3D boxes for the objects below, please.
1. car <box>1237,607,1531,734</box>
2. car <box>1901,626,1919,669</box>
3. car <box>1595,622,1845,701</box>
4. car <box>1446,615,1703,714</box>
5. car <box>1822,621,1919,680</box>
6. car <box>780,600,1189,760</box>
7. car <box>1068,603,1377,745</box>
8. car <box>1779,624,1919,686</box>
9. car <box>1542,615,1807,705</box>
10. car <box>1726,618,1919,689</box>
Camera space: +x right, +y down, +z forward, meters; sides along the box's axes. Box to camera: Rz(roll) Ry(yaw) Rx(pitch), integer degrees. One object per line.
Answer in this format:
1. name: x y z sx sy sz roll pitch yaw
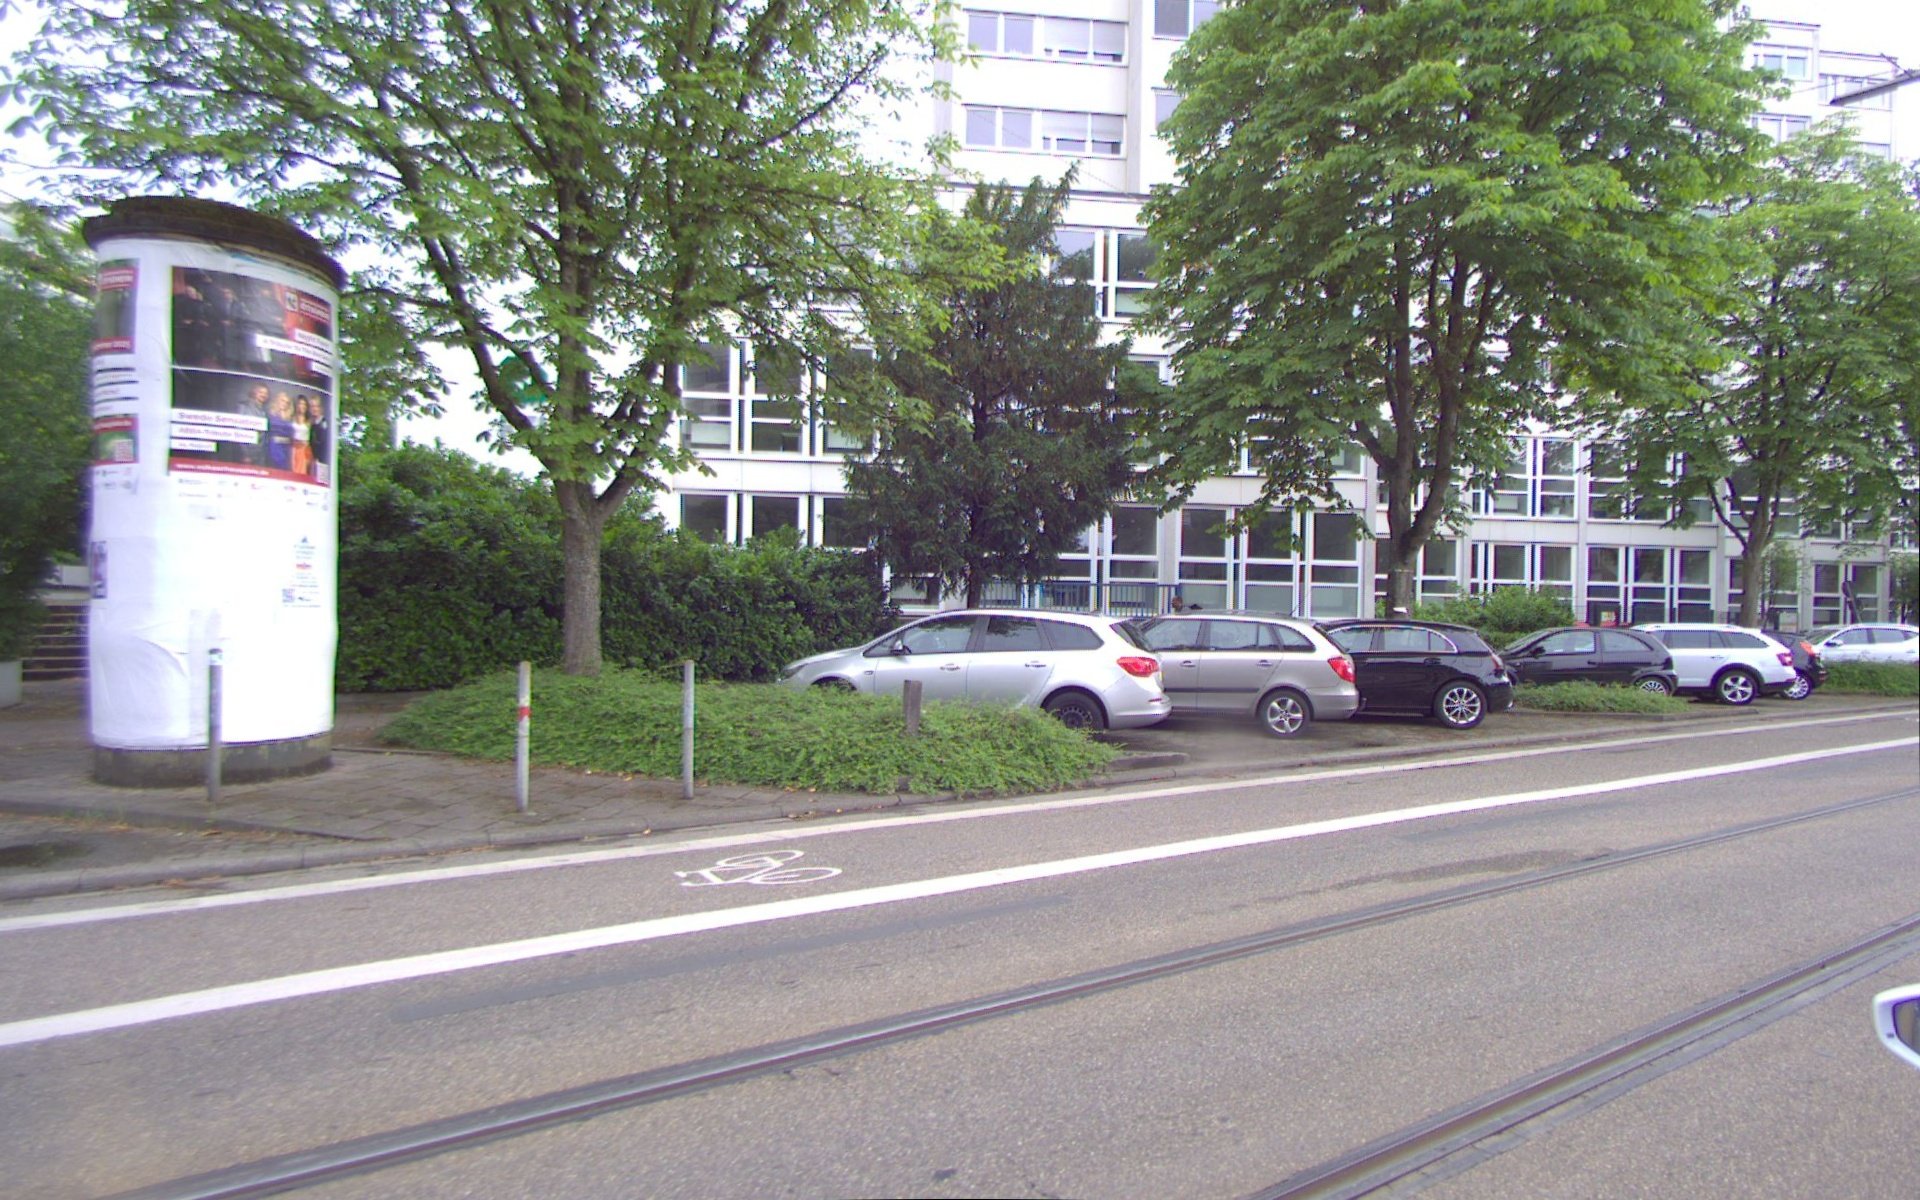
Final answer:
1. car: 5.902 0.932 14.427 3.631 1.544 1.700 2 1 15
2. car: 33.045 1.614 32.141 3.888 1.370 1.701 2 1 14
3. car: 16.273 1.272 21.747 3.950 1.424 1.699 2 1 21
4. car: 11.117 1.125 18.440 3.631 1.544 1.700 2 1 15
5. car: 27.658 1.469 28.681 4.258 1.556 1.701 2 1 14
6. car: 0.352 0.818 11.496 4.342 1.484 1.805 2 0 11
7. car: 3.305 0.872 12.942 3.577 1.544 1.573 2 1 15
8. car: 24.864 1.468 26.826 4.258 1.473 1.701 2 1 14
9. car: 14.074 1.132 20.061 3.950 1.504 1.699 2 1 21
10. car: 22.163 1.319 25.274 4.258 1.577 1.701 2 1 10
